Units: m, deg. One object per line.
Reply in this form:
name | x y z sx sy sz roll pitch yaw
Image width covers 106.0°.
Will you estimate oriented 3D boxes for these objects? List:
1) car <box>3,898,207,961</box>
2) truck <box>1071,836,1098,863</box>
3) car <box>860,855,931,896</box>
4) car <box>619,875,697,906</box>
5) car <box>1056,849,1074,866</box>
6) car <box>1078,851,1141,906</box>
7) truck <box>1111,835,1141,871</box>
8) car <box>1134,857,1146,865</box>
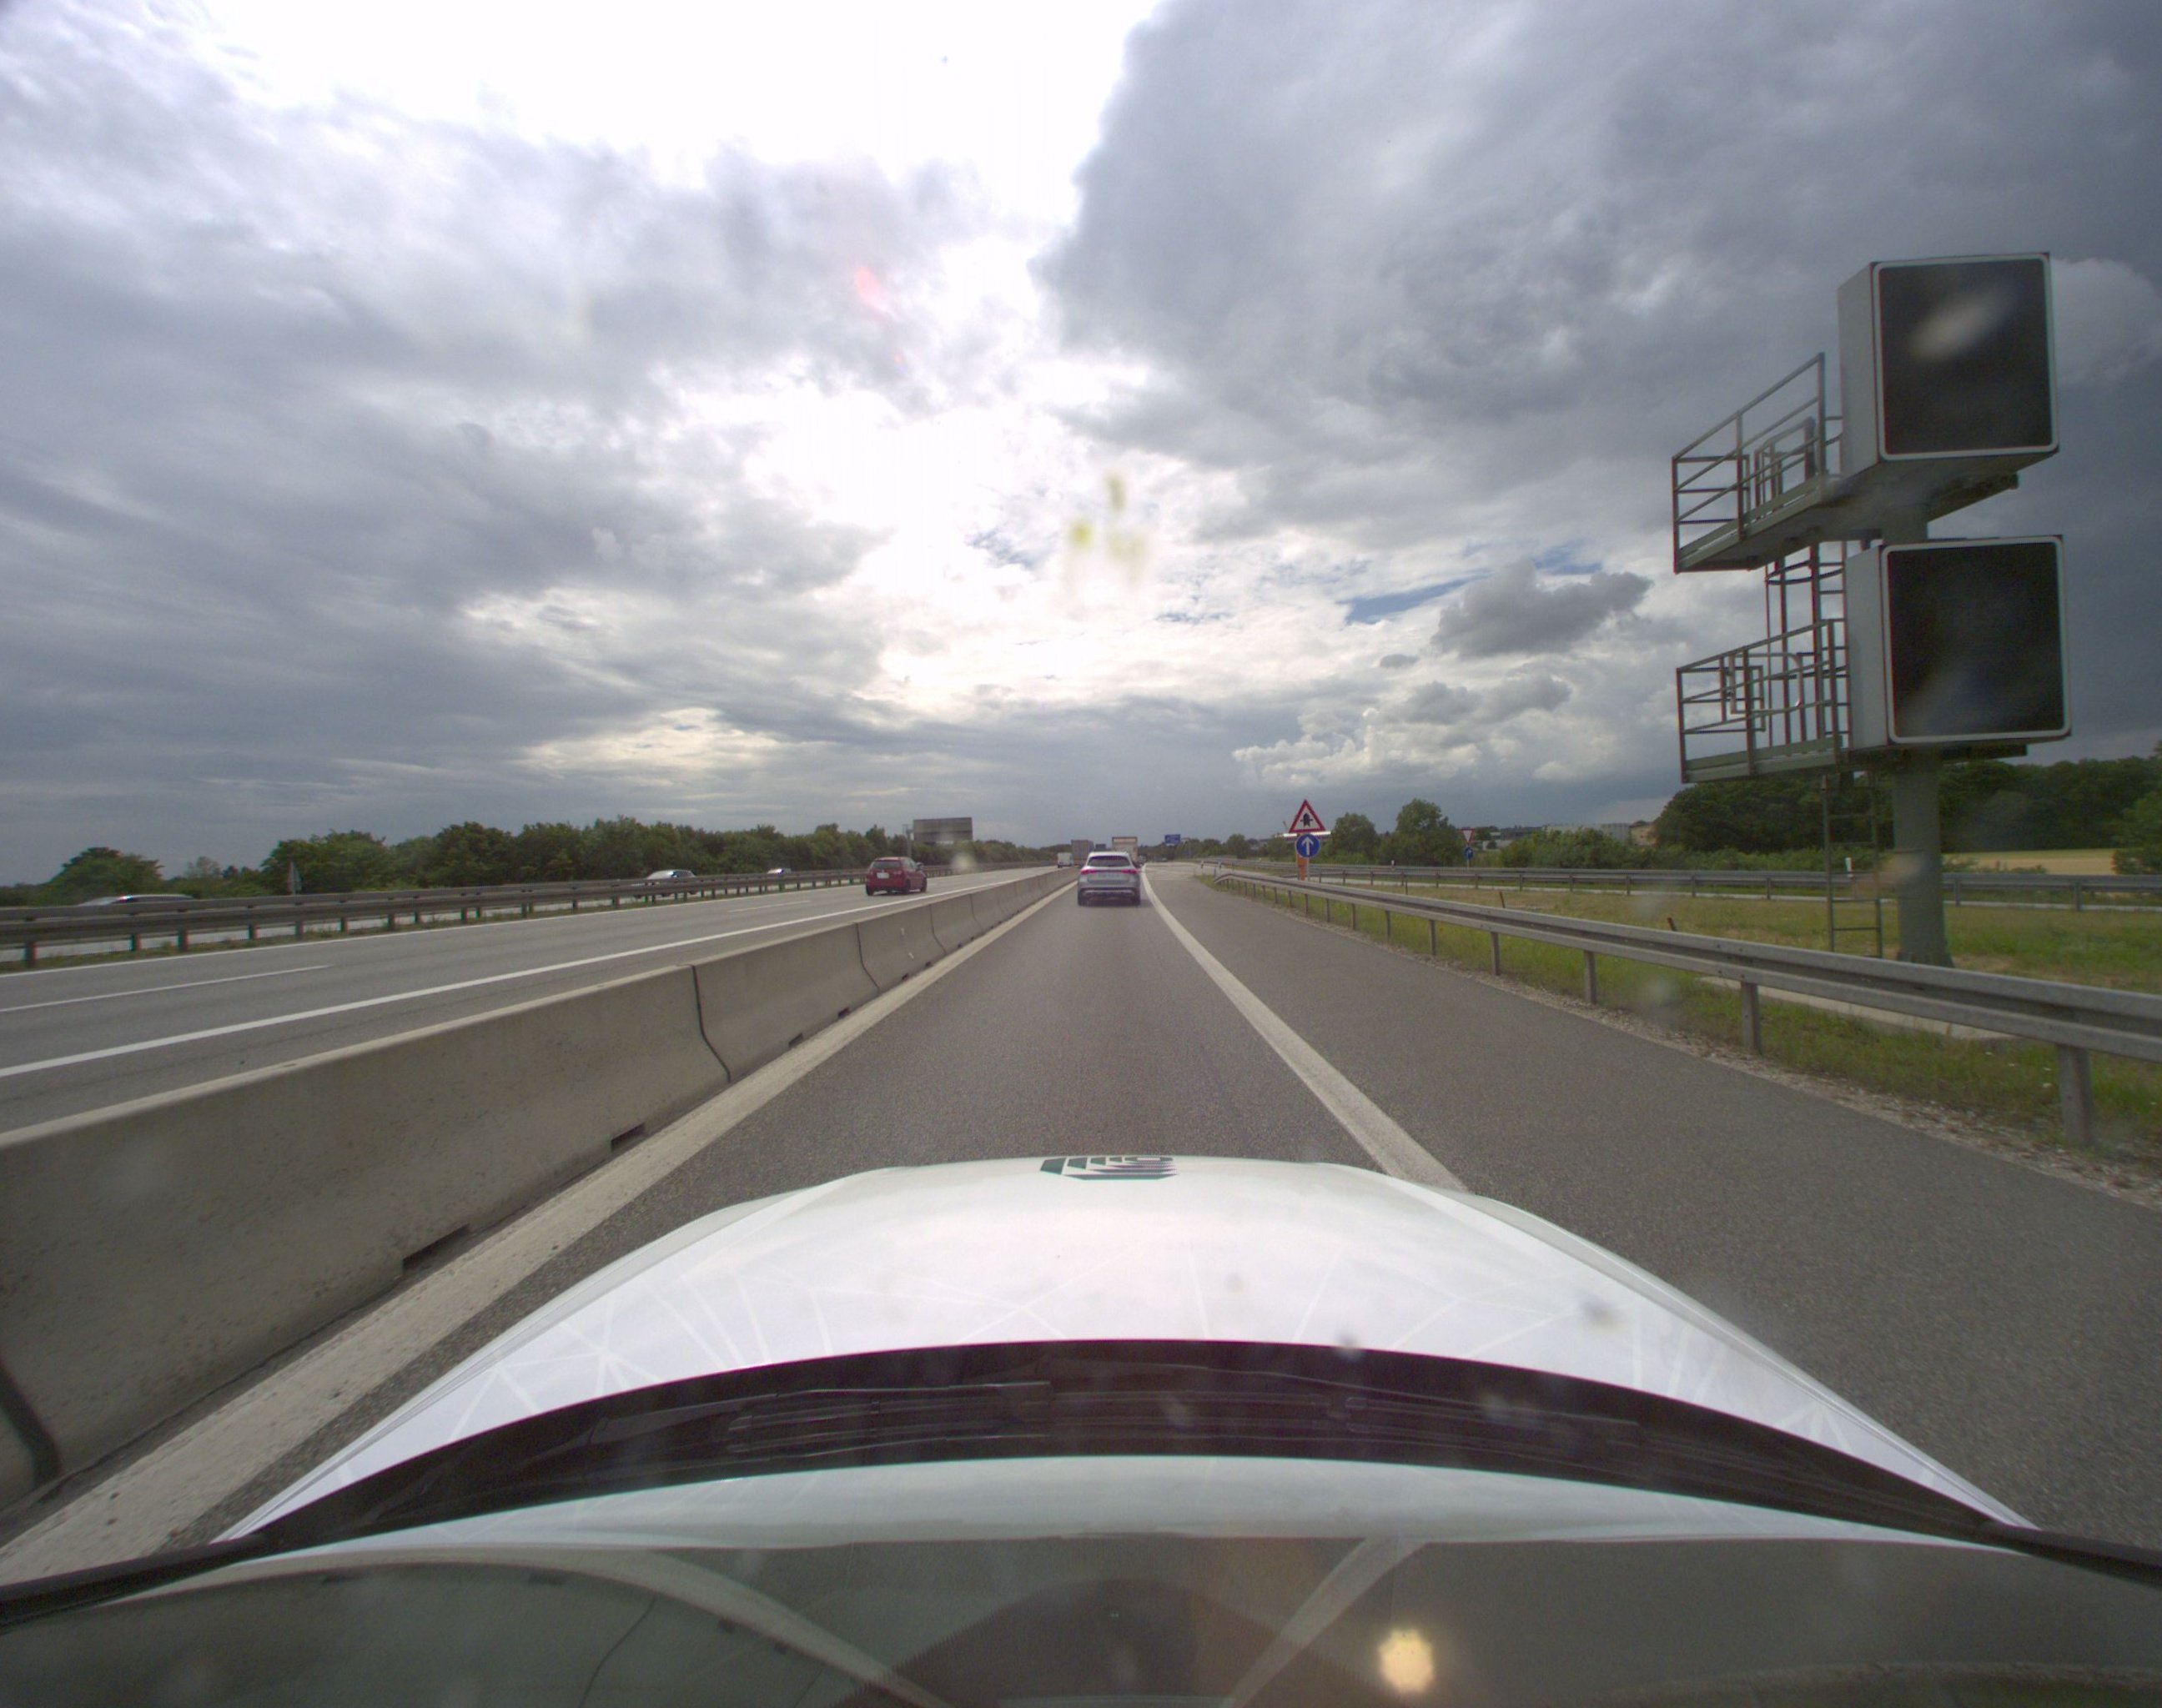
car | -32.370 2.454 27.217 1.820 1.706 4.007 -1 0 6
truck | 0.694 -0.776 128.889 3.169 4.018 16.094 -1 1 4
car | -7.922 0.876 35.146 1.811 1.545 4.359 -1 1 3
car | -21.938 1.872 42.412 1.696 1.398 4.005 -1 0 5
car | -2.091 0.448 107.215 1.984 2.013 4.381 0 1 5
car | 0.930 0.704 25.590 1.812 1.514 4.004 -1 1 3
truck | 4.200 -0.105 75.553 2.558 3.126 8.641 0 0 3
car | 9.308 1.098 127.852 1.688 1.288 4.006 -1 0 5
